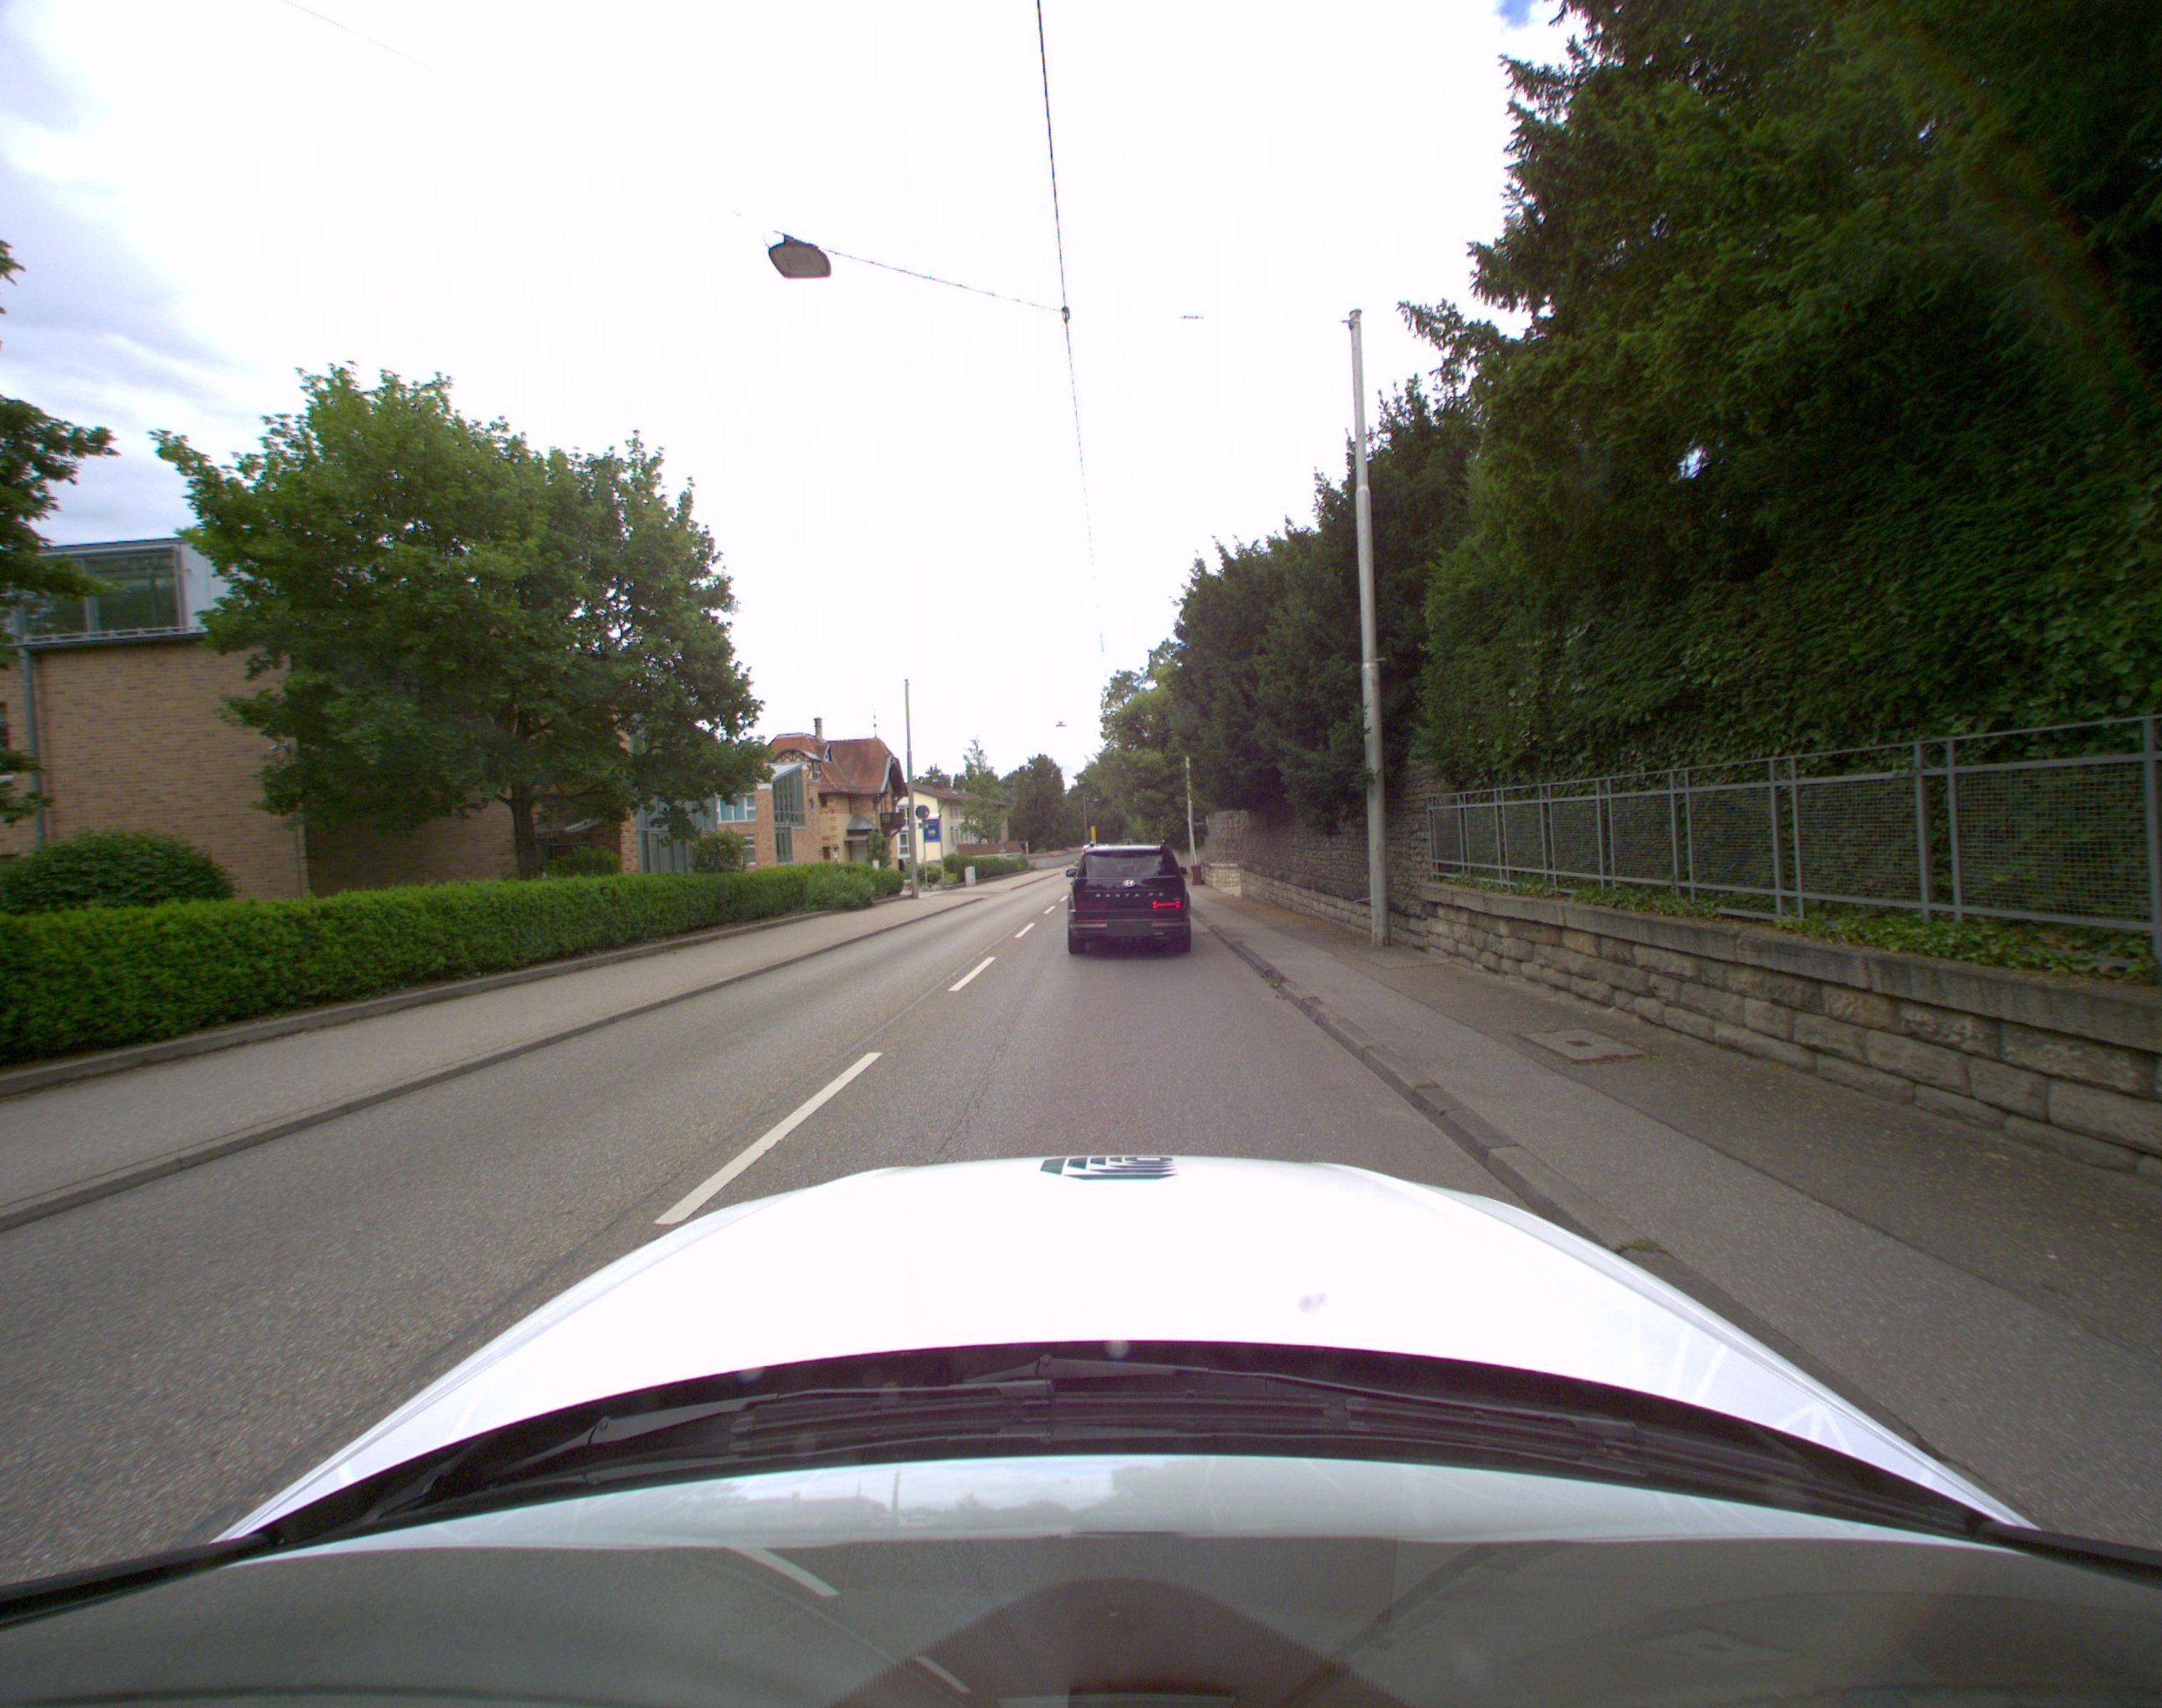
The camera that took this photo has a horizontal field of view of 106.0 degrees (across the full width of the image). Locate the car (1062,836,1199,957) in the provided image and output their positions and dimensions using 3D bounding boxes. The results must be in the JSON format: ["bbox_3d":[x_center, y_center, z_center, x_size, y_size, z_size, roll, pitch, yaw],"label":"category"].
[{"bbox_3d":[0.811,0.595,13.730,1.949,1.713,4.226,0,0,3],"label":"car"}]

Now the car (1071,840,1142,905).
[{"bbox_3d":[0.755,0.539,26.839,1.953,1.956,4.218,0,0,-4],"label":"car"}]

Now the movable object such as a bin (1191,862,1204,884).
[{"bbox_3d":[5.019,0.811,35.146,0.442,0.910,0.395,-6,-1,11],"label":"movable object such as a bin"}]

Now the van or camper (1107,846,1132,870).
[{"bbox_3d":[3.619,0.360,76.018,1.665,2.007,3.950,-3,1,11],"label":"van or camper"}]
